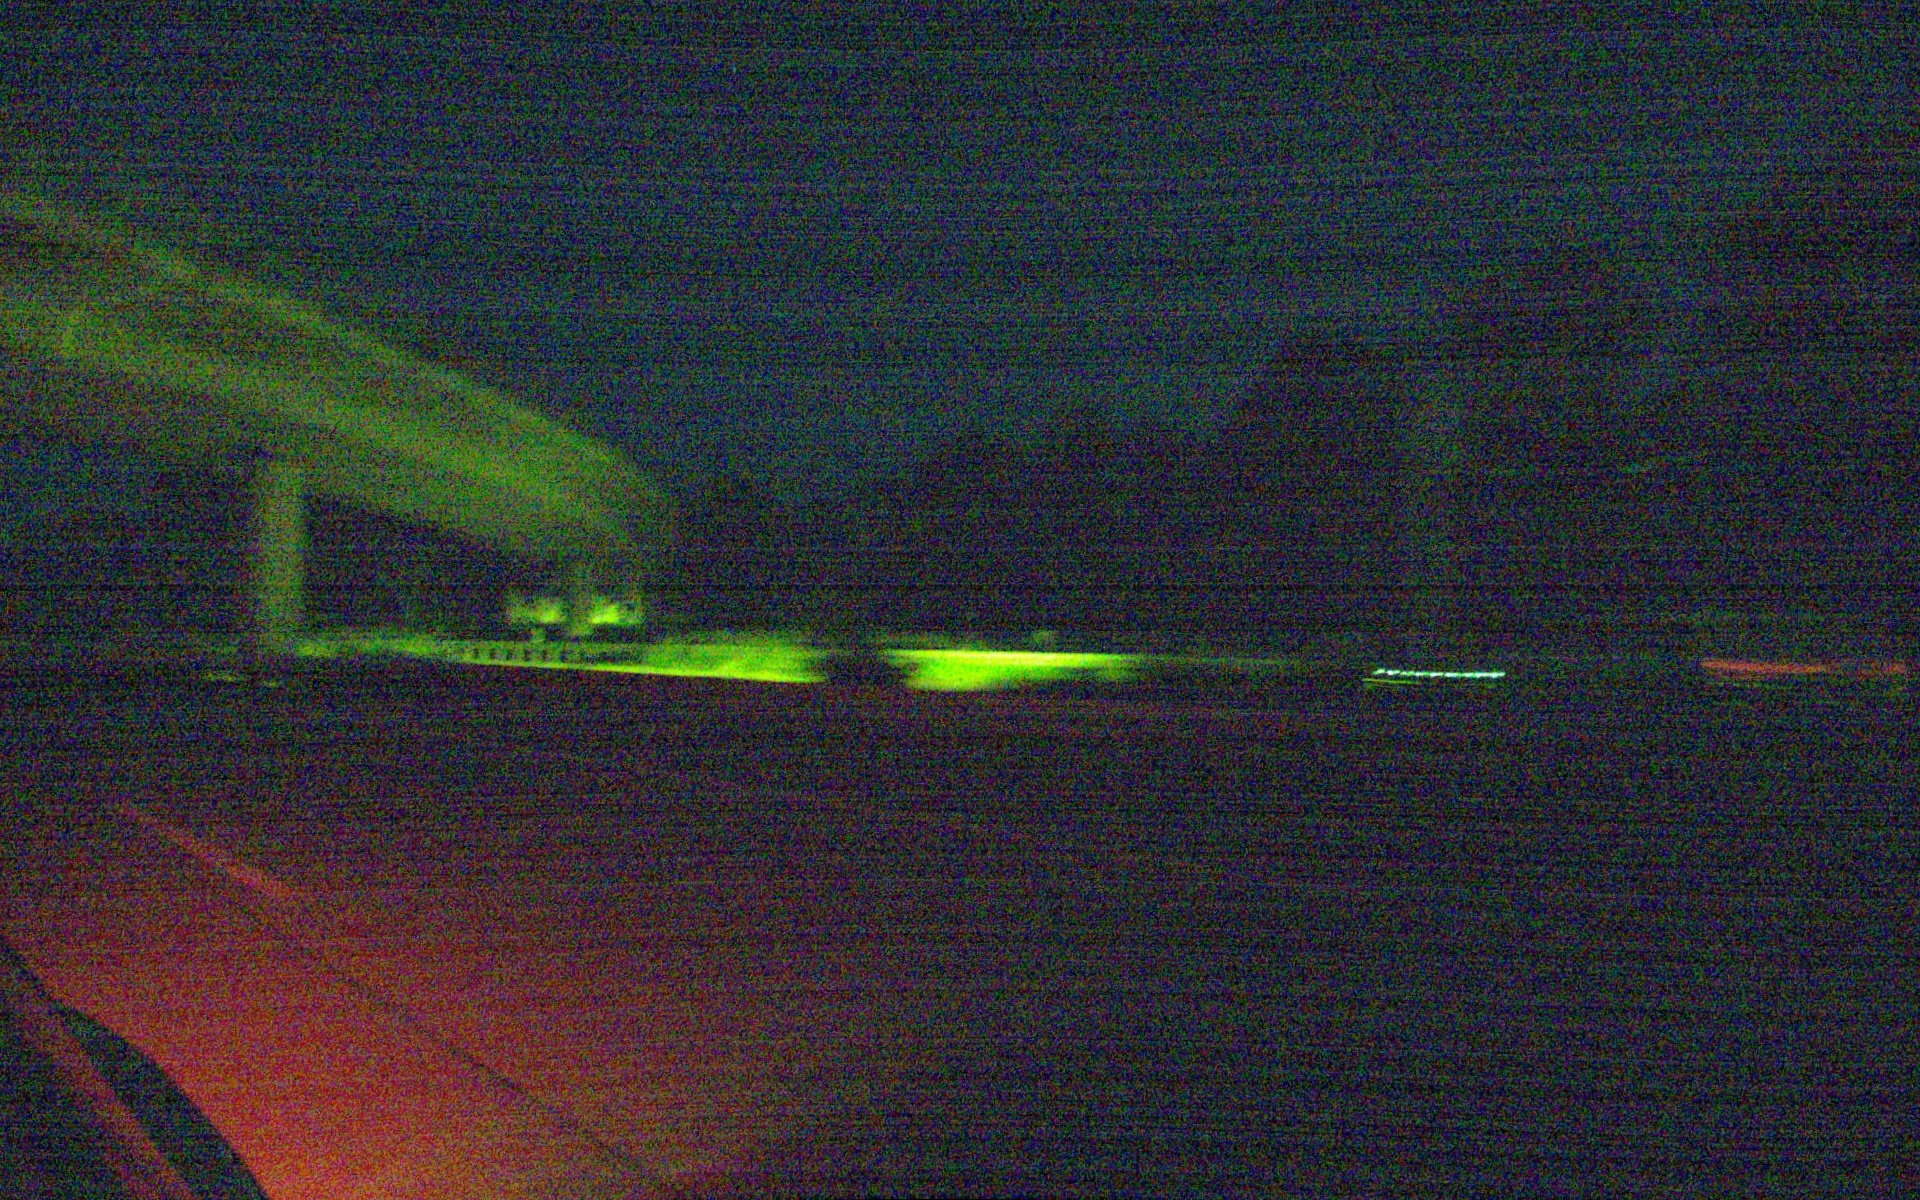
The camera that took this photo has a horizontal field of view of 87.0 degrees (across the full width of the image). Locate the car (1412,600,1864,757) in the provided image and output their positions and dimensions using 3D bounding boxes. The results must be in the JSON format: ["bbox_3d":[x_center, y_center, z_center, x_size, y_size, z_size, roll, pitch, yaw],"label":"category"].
[{"bbox_3d":[8.458,0.878,12.996,4.528,1.670,1.974,-1,-2,38],"label":"car"}]
